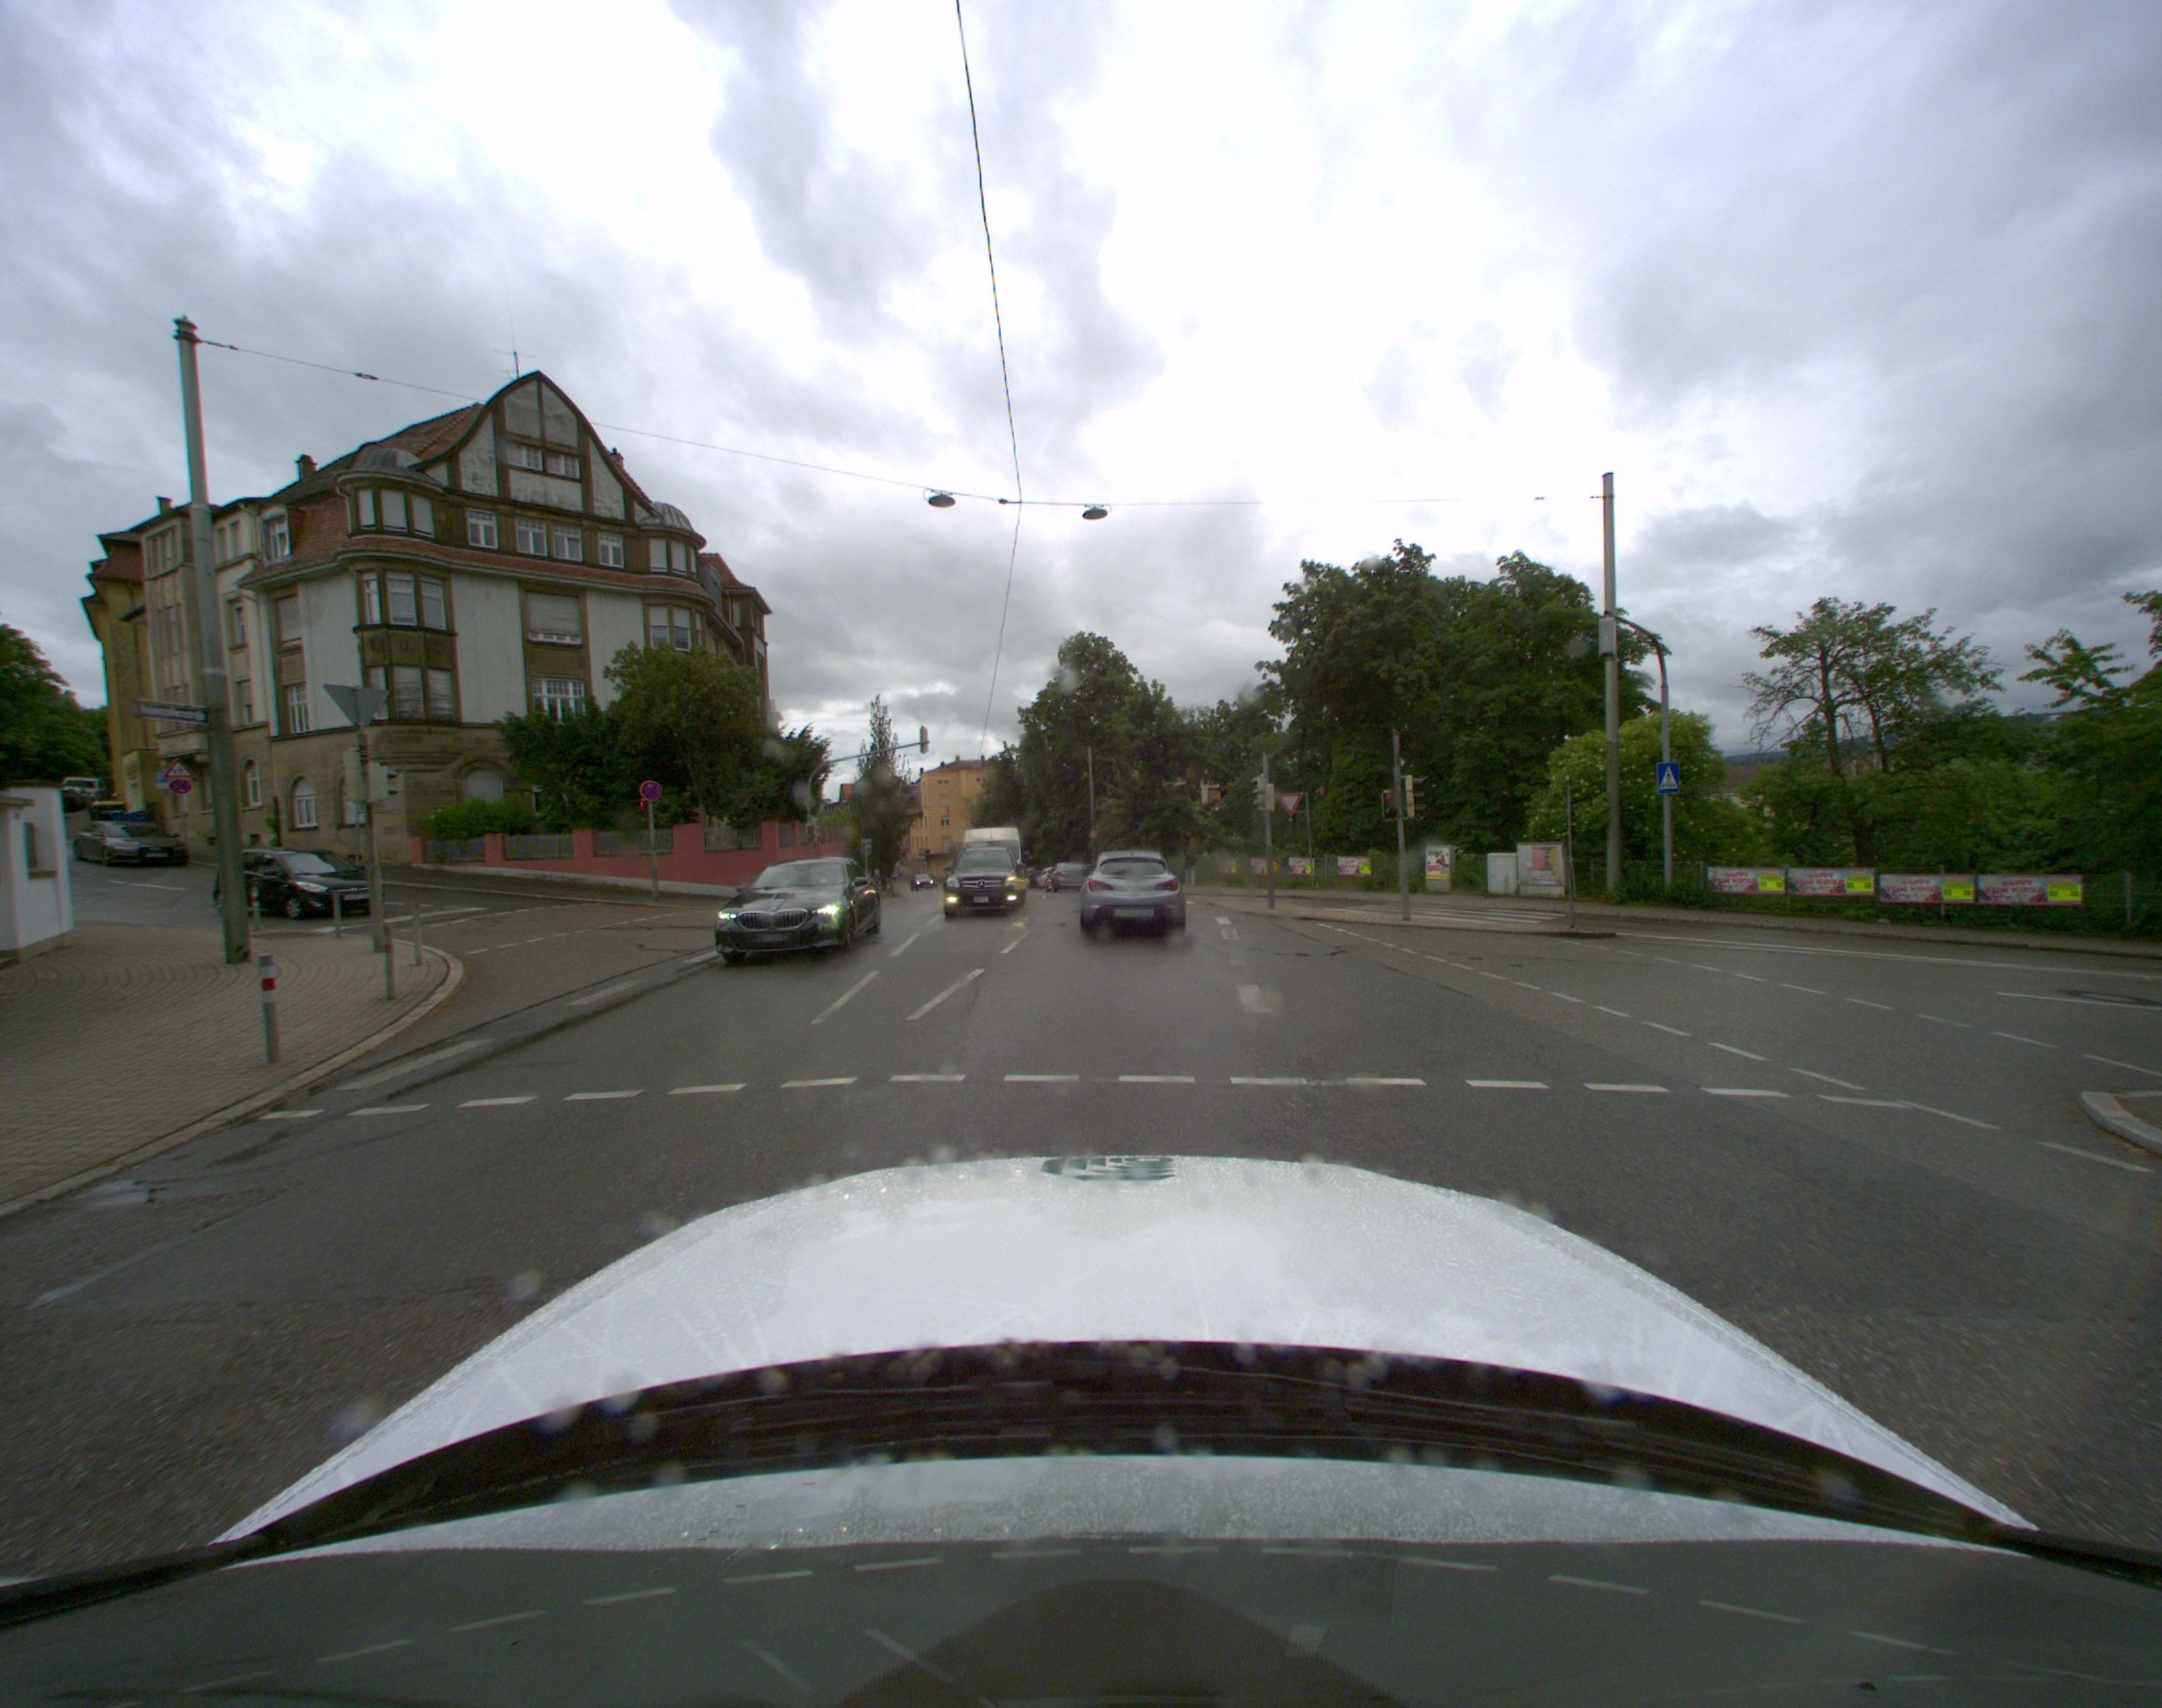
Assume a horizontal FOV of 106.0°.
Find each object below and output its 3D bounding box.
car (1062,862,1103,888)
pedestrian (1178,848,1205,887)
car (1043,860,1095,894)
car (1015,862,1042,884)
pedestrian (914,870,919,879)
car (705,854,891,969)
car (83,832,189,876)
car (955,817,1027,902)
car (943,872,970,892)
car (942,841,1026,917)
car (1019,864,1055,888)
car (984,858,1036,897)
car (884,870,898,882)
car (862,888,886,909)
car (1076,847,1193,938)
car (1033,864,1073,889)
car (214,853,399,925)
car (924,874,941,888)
[{"bbox_3d":[0.039,1.290,50.049,1.651,1.404,3.795,-4,-1,-13],"label":"car"},{"bbox_3d":[4.783,0.576,35.254,0.766,1.605,0.962,-5,-1,-11],"label":"pedestrian"},{"bbox_3d":[-0.606,1.125,38.366,1.777,1.430,3.771,-4,-2,-10],"label":"car"},{"bbox_3d":[-3.708,1.320,56.875,1.384,1.412,3.442,-2,-1,-12],"label":"car"},{"bbox_3d":[-26.393,3.265,130.742,0.615,1.496,0.549,-2,1,-20],"label":"pedestrian"},{"bbox_3d":[-4.589,0.798,14.125,1.851,1.486,5.354,-3,1,-7],"label":"car"},{"bbox_3d":[-33.737,-0.046,29.065,3.474,1.453,1.717,1,3,28],"label":"car"},{"bbox_3d":[-3.010,0.220,28.113,2.114,2.546,5.530,-3,-1,-5],"label":"car"},{"bbox_3d":[-10.300,2.303,67.193,1.848,1.584,4.258,-1,-1,-14],"label":"car"},{"bbox_3d":[-2.315,0.564,20.384,1.818,1.652,4.340,-1,0,-4],"label":"car"},{"bbox_3d":[-3.570,1.792,65.363,1.824,1.683,4.778,-5,-1,-15],"label":"car"},{"bbox_3d":[-3.013,0.984,34.086,1.815,1.430,3.987,-3,-1,-9],"label":"car"},{"bbox_3d":[-29.923,3.463,128.258,1.787,1.855,3.975,-2,-2,-18],"label":"car"},{"bbox_3d":[-17.285,3.696,68.113,1.817,1.613,3.980,-1,-2,-14],"label":"car"},{"bbox_3d":[0.865,0.643,15.425,1.810,1.430,3.997,-2,0,-2],"label":"car"},{"bbox_3d":[-2.092,1.659,59.923,1.820,1.494,3.976,-8,-1,-17],"label":"car"},{"bbox_3d":[-18.091,0.764,19.051,3.328,1.438,1.680,1,4,18],"label":"car"},{"bbox_3d":[-18.167,3.315,99.605,1.644,1.536,3.694,-3,-1,-17],"label":"car"}]
